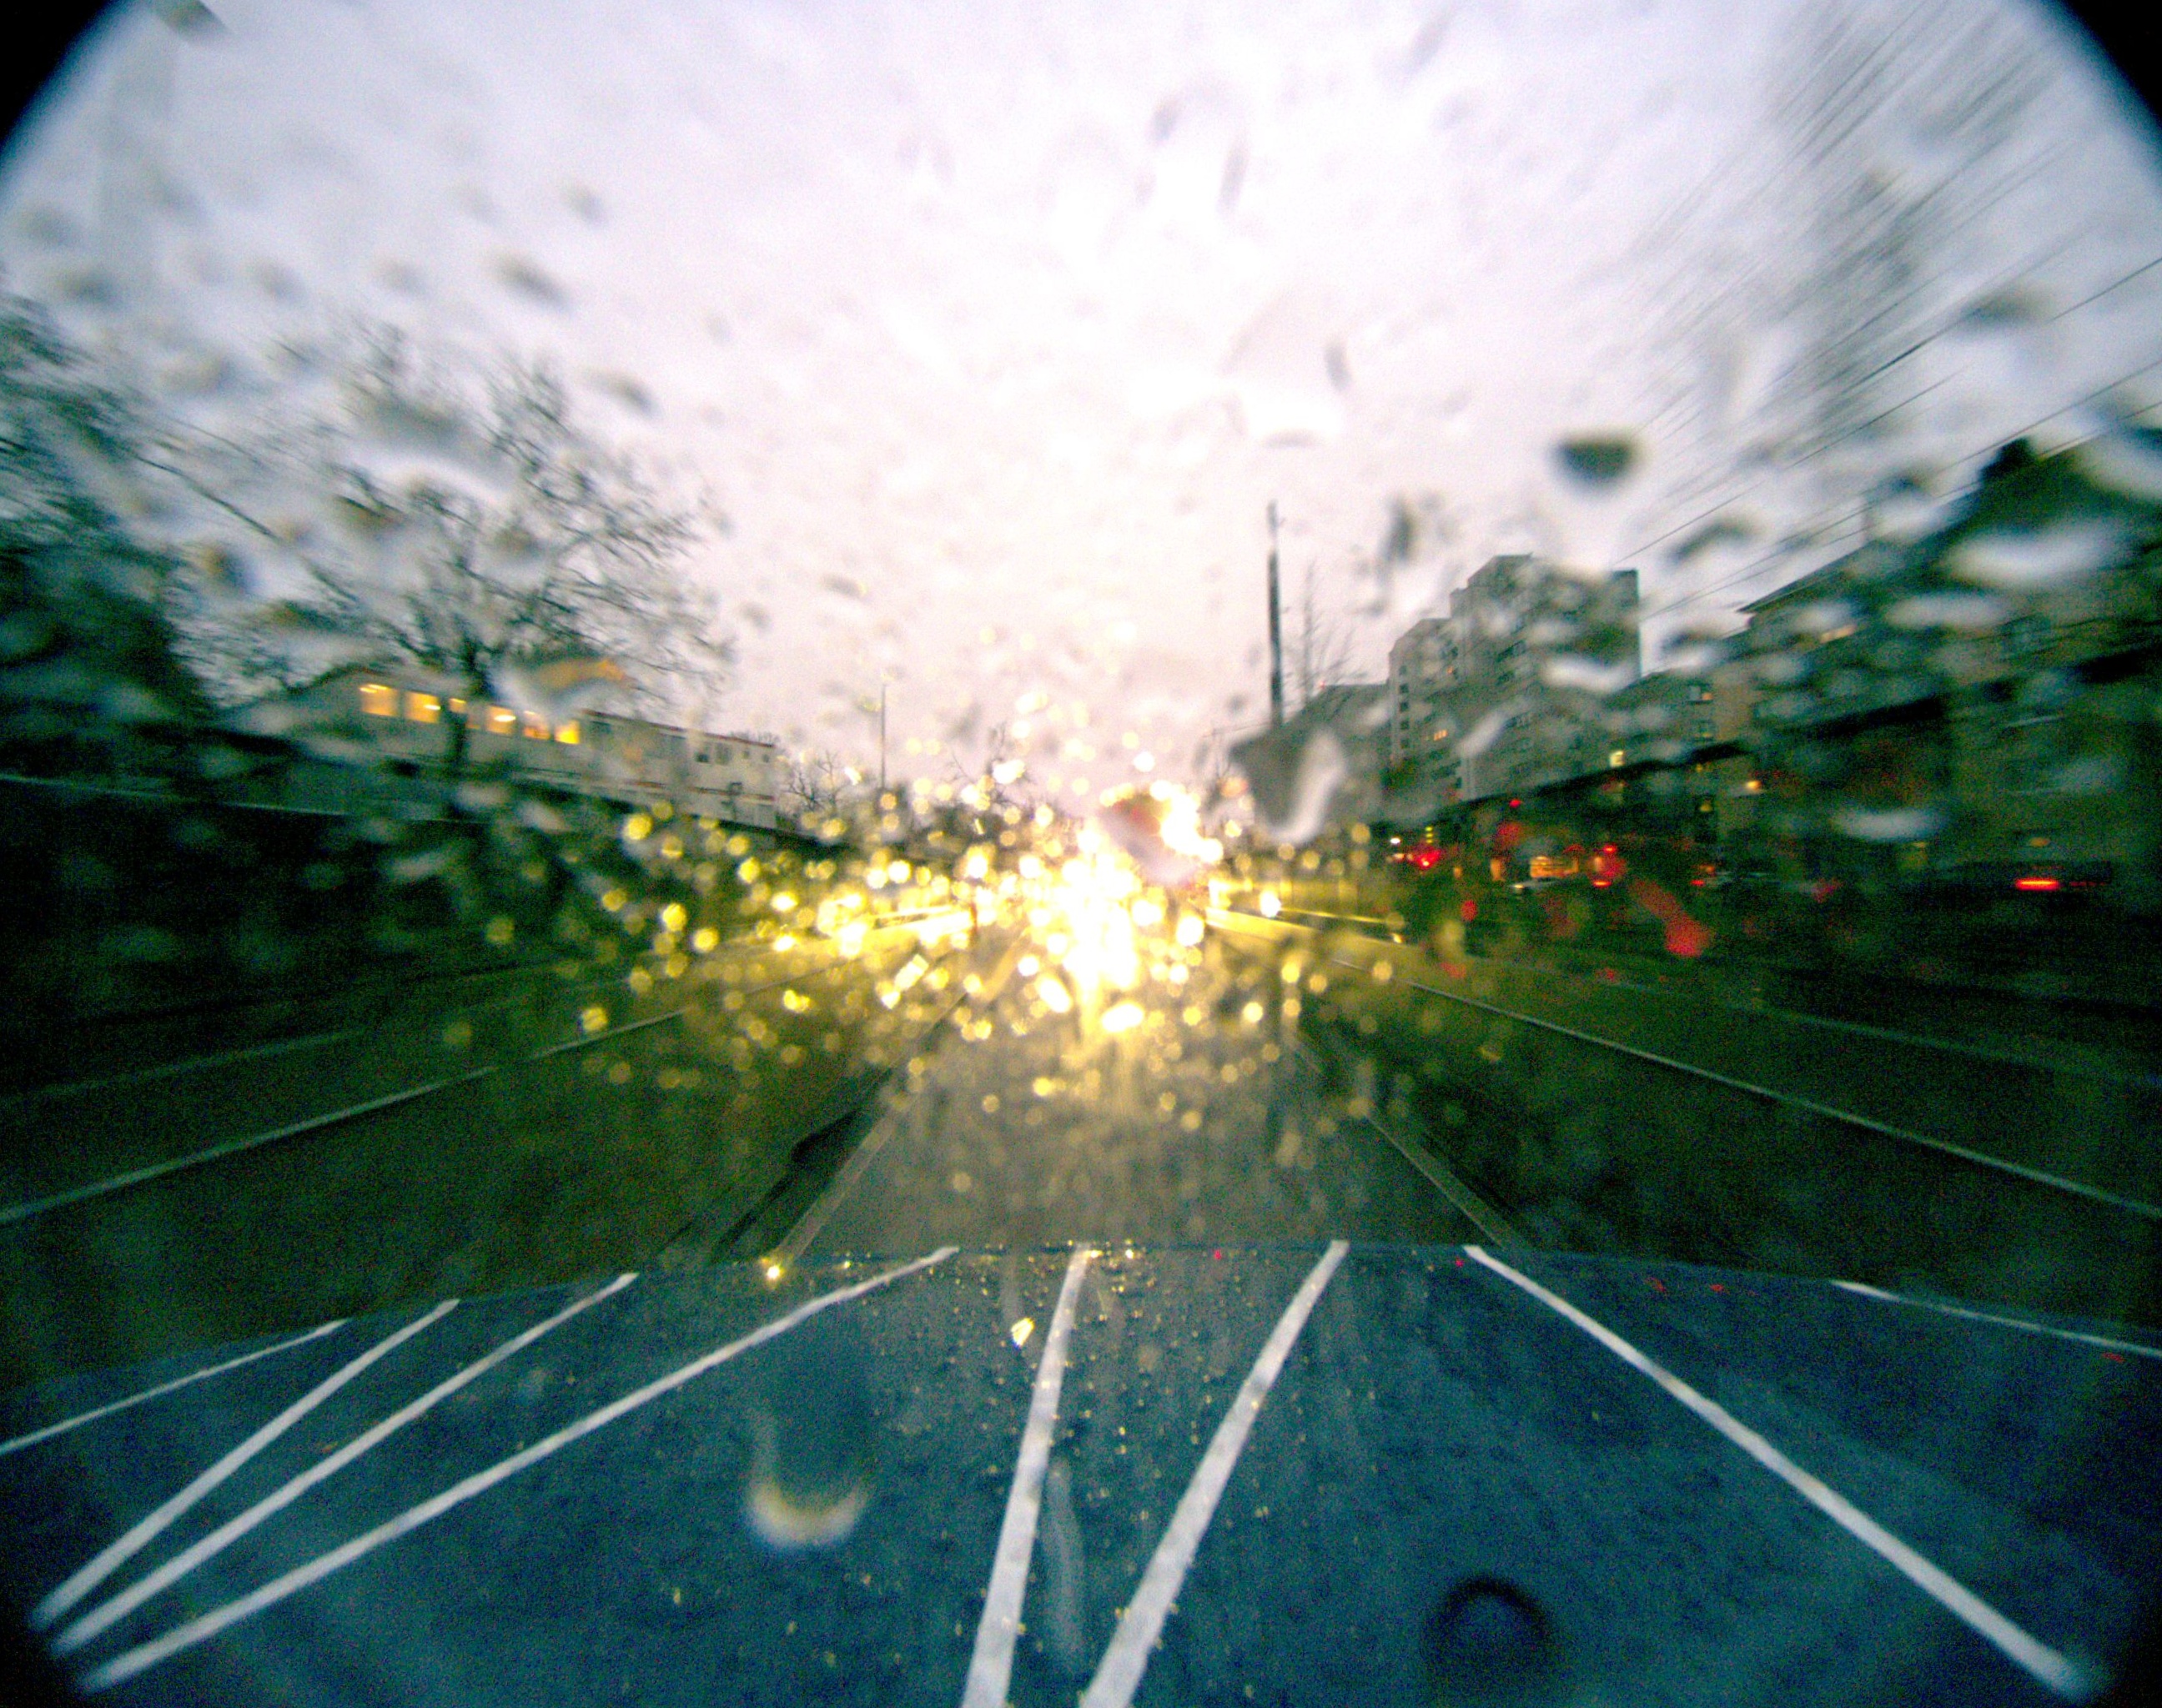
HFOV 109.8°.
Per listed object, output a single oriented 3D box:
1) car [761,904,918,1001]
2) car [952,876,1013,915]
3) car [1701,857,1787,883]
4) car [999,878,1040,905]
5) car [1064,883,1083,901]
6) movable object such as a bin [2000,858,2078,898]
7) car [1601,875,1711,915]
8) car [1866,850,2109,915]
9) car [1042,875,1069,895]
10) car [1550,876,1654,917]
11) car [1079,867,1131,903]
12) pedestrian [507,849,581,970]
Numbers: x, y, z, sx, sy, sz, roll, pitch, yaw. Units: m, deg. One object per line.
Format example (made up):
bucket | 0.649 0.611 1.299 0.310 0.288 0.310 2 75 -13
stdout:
car | -4.755 1.897 15.588 1.726 1.470 4.002 -3 -1 2
car | -4.240 1.778 33.585 1.791 1.492 4.969 -2 -1 3
car | 42.209 1.020 48.417 3.835 1.542 1.779 -1 -2 1
car | -3.584 2.161 45.003 1.777 1.452 4.043 -2 -1 5
car | -0.689 3.741 75.272 1.678 1.738 3.867 -1 -2 2
movable object such as a bin | 36.235 0.916 28.760 1.110 1.471 1.425 0 -2 0
car | 25.364 1.761 33.712 1.805 1.575 4.001 -3 -1 1
car | 25.874 0.828 21.963 1.999 1.682 4.112 0 -2 -3
car | -2.088 2.554 63.315 1.880 1.489 4.079 -1 -1 2
car | 22.778 1.804 33.399 1.805 1.575 4.001 -3 -1 1
car | 1.083 1.357 34.068 2.160 1.489 4.009 -1 -1 2
pedestrian | -8.578 0.870 12.172 0.533 1.868 0.901 -1 -2 0
